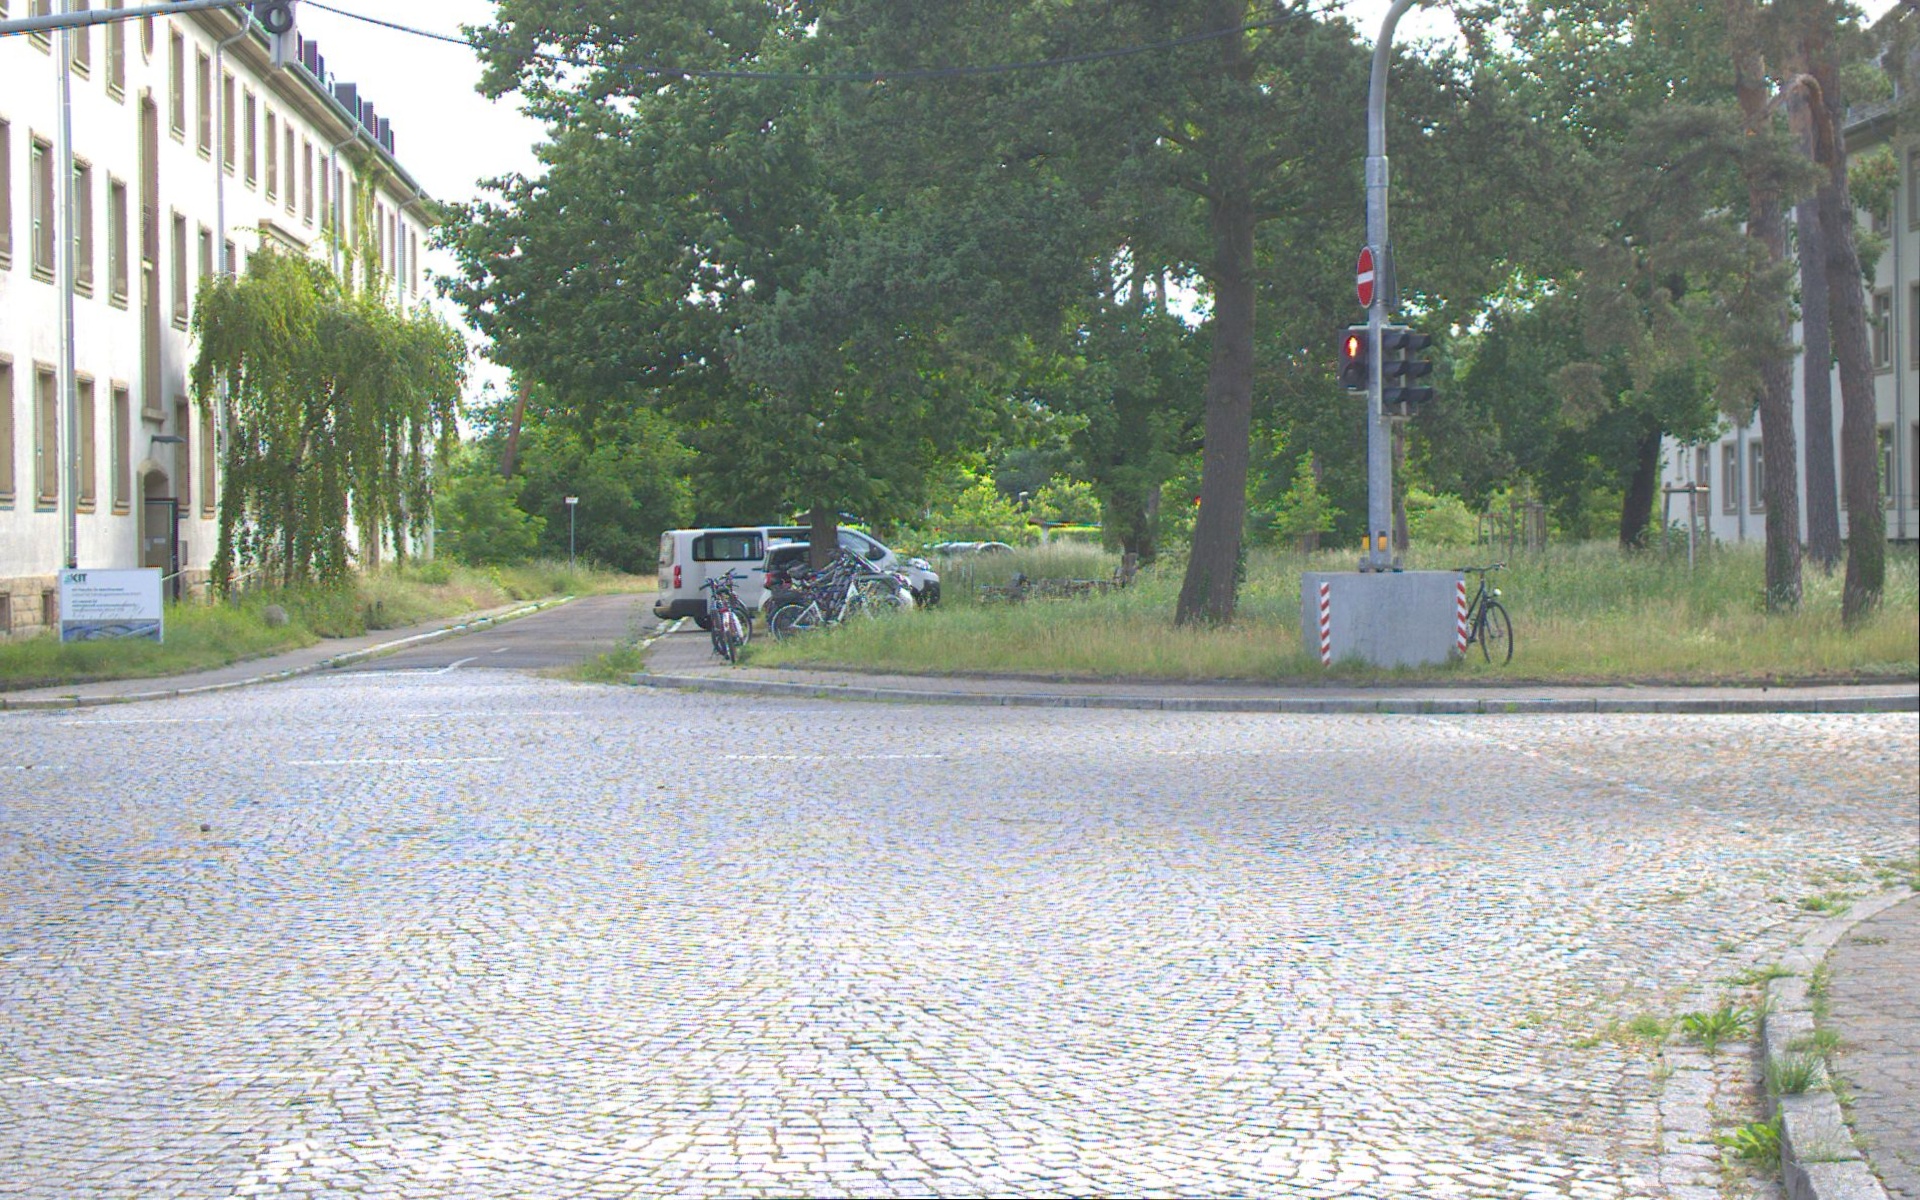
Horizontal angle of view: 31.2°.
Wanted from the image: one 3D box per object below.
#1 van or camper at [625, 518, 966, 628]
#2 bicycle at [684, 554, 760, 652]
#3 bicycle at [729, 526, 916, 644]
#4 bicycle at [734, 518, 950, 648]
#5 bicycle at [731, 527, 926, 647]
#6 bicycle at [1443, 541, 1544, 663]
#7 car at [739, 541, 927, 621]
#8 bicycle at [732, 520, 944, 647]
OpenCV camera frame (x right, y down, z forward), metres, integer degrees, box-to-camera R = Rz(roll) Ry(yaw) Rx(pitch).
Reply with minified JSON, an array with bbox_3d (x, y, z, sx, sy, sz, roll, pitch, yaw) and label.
[{"bbox_3d":[-3.072,-0.523,64.085,6.030,1.942,2.001,-1,1,-16],"label":"van or camper"},{"bbox_3d":[-2.880,0.020,41.824,0.725,1.104,2.462,-5,1,-2],"label":"bicycle"},{"bbox_3d":[-2.081,-0.234,52.245,2.775,1.688,1.120,2,1,-1],"label":"bicycle"},{"bbox_3d":[-1.601,-0.242,46.160,2.775,1.688,1.120,-1,1,-8],"label":"bicycle"},{"bbox_3d":[-1.928,-0.198,50.912,2.775,1.688,1.120,2,1,1],"label":"bicycle"},{"bbox_3d":[5.357,0.004,34.654,0.724,1.165,2.736,1,1,3],"label":"bicycle"},{"bbox_3d":[-2.256,-0.351,60.541,3.137,1.349,1.620,-1,1,-8],"label":"car"},{"bbox_3d":[-1.688,-0.235,47.352,2.775,1.688,1.120,-1,1,-10],"label":"bicycle"}]
